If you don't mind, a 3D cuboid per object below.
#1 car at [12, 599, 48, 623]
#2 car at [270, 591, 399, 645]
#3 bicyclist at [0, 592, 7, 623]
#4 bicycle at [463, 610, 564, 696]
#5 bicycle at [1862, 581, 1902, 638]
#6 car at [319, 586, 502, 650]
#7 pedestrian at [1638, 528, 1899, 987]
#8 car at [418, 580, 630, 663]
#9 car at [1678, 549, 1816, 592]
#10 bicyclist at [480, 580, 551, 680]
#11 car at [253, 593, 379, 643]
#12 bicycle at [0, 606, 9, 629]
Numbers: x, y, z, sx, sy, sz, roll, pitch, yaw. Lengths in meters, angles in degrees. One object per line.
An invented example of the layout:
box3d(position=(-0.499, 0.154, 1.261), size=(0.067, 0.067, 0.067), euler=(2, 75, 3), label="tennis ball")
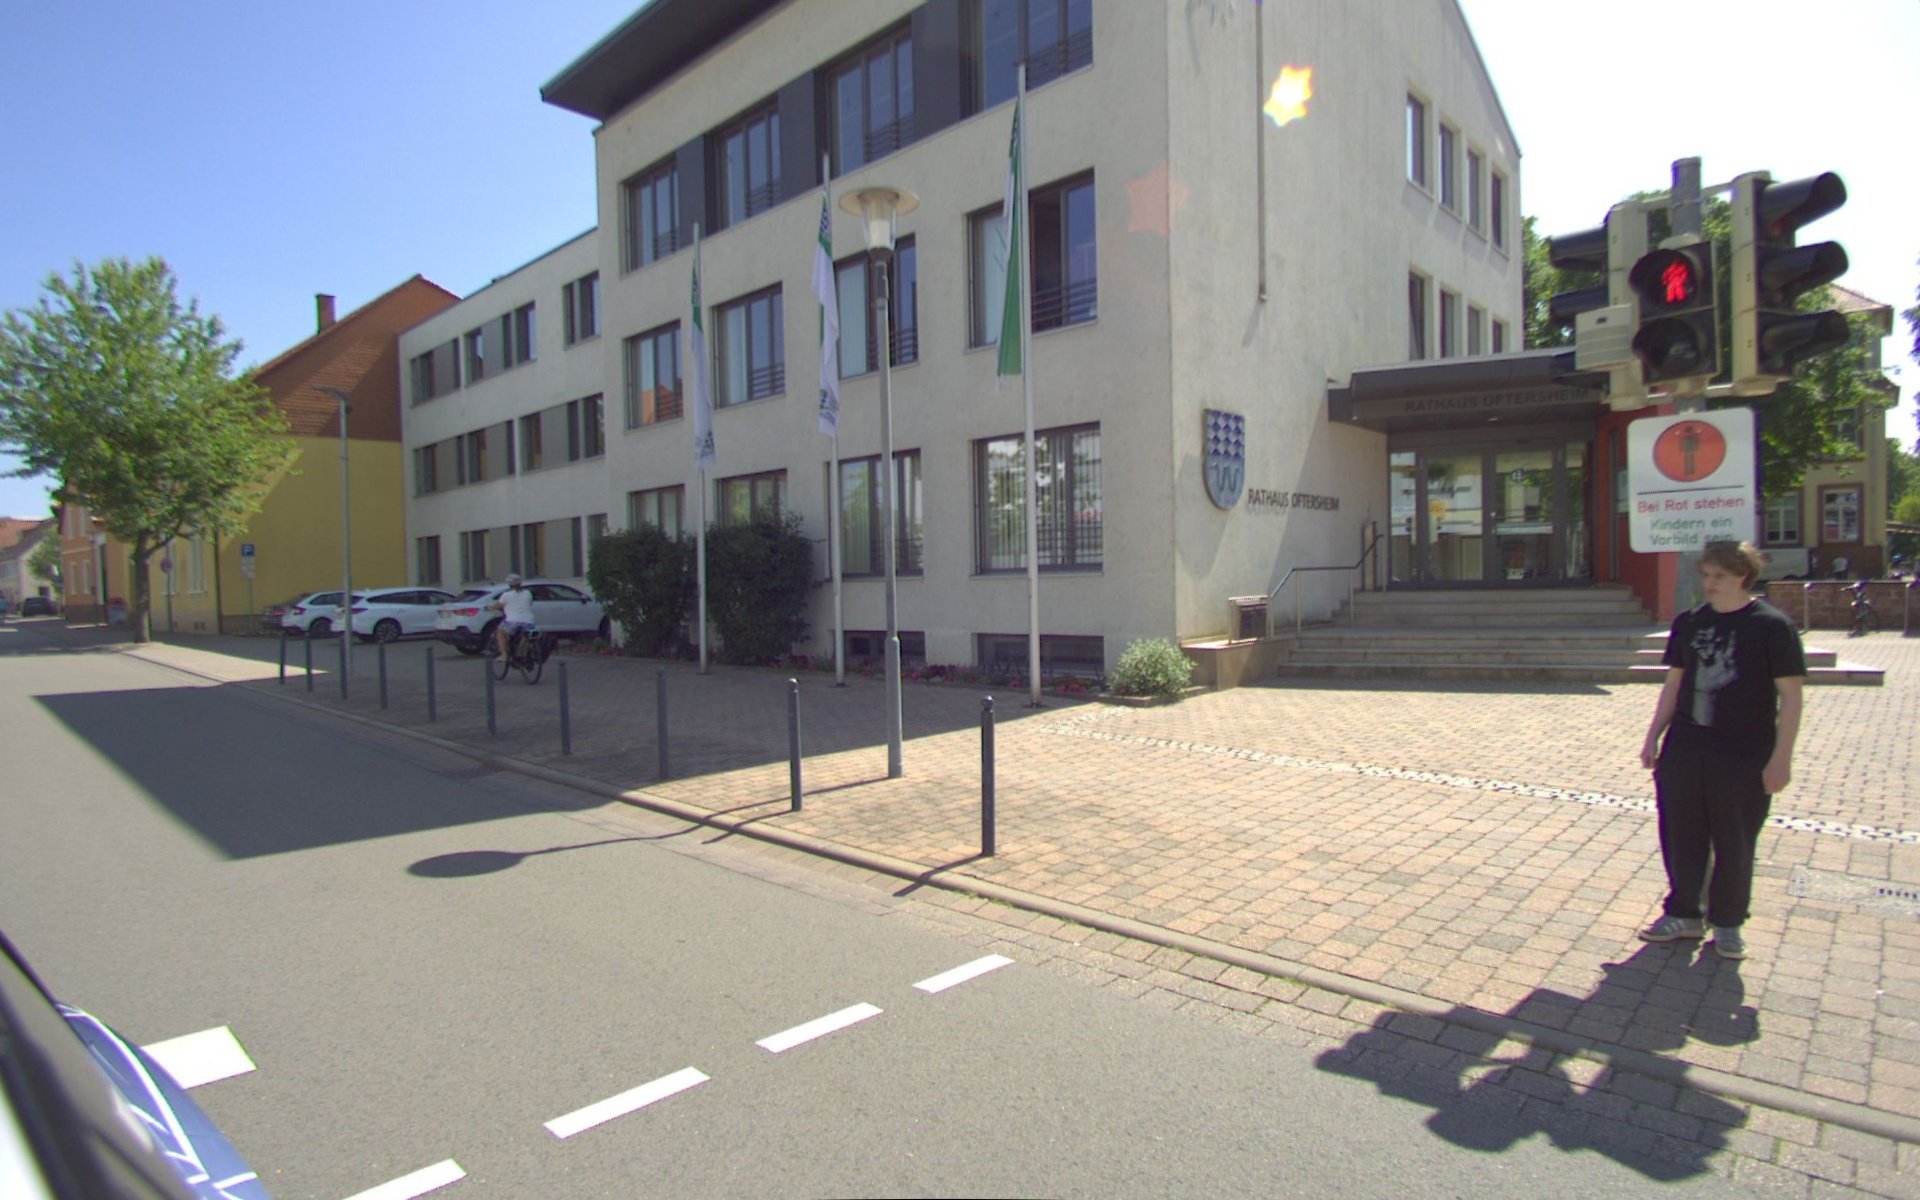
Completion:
box3d(position=(-73.697, 0.825, 80.197), size=(4.000, 1.829, 1.801), euler=(0, 1, 43), label="car")
box3d(position=(-19.615, 0.527, 31.776), size=(1.643, 1.461, 3.096), euler=(0, 2, 44), label="car")
box3d(position=(-51.552, 0.424, 54.290), size=(0.551, 1.652, 0.531), euler=(-1, 0, 43), label="bicyclist")
box3d(position=(-7.064, 0.790, 15.966), size=(1.971, 1.261, 0.701), euler=(-1, 1, 42), label="bicycle")
box3d(position=(18.635, 0.167, 20.470), size=(0.580, 1.013, 1.927), euler=(-1, 3, 42), label="bicycle")
box3d(position=(-15.447, 0.446, 28.619), size=(1.514, 1.489, 4.265), euler=(0, 3, 44), label="car")
box3d(position=(3.097, 0.552, 3.915), size=(0.541, 1.630, 0.558), euler=(-1, 1, -12), label="pedestrian")
box3d(position=(-9.681, 0.419, 22.684), size=(1.749, 1.559, 3.945), euler=(-1, 2, 42), label="car")
box3d(position=(38.708, -1.417, 49.914), size=(5.273, 1.952, 1.974), euler=(-1, 1, 39), label="car")
box3d(position=(-6.994, 0.451, 15.908), size=(0.870, 1.518, 0.707), euler=(-1, 0, 42), label="bicyclist")
box3d(position=(-21.169, 0.553, 33.350), size=(1.374, 1.412, 3.215), euler=(-1, 2, 42), label="car")
box3d(position=(-51.551, 0.947, 54.302), size=(1.725, 1.198, 0.587), euler=(0, 2, 43), label="bicycle")
